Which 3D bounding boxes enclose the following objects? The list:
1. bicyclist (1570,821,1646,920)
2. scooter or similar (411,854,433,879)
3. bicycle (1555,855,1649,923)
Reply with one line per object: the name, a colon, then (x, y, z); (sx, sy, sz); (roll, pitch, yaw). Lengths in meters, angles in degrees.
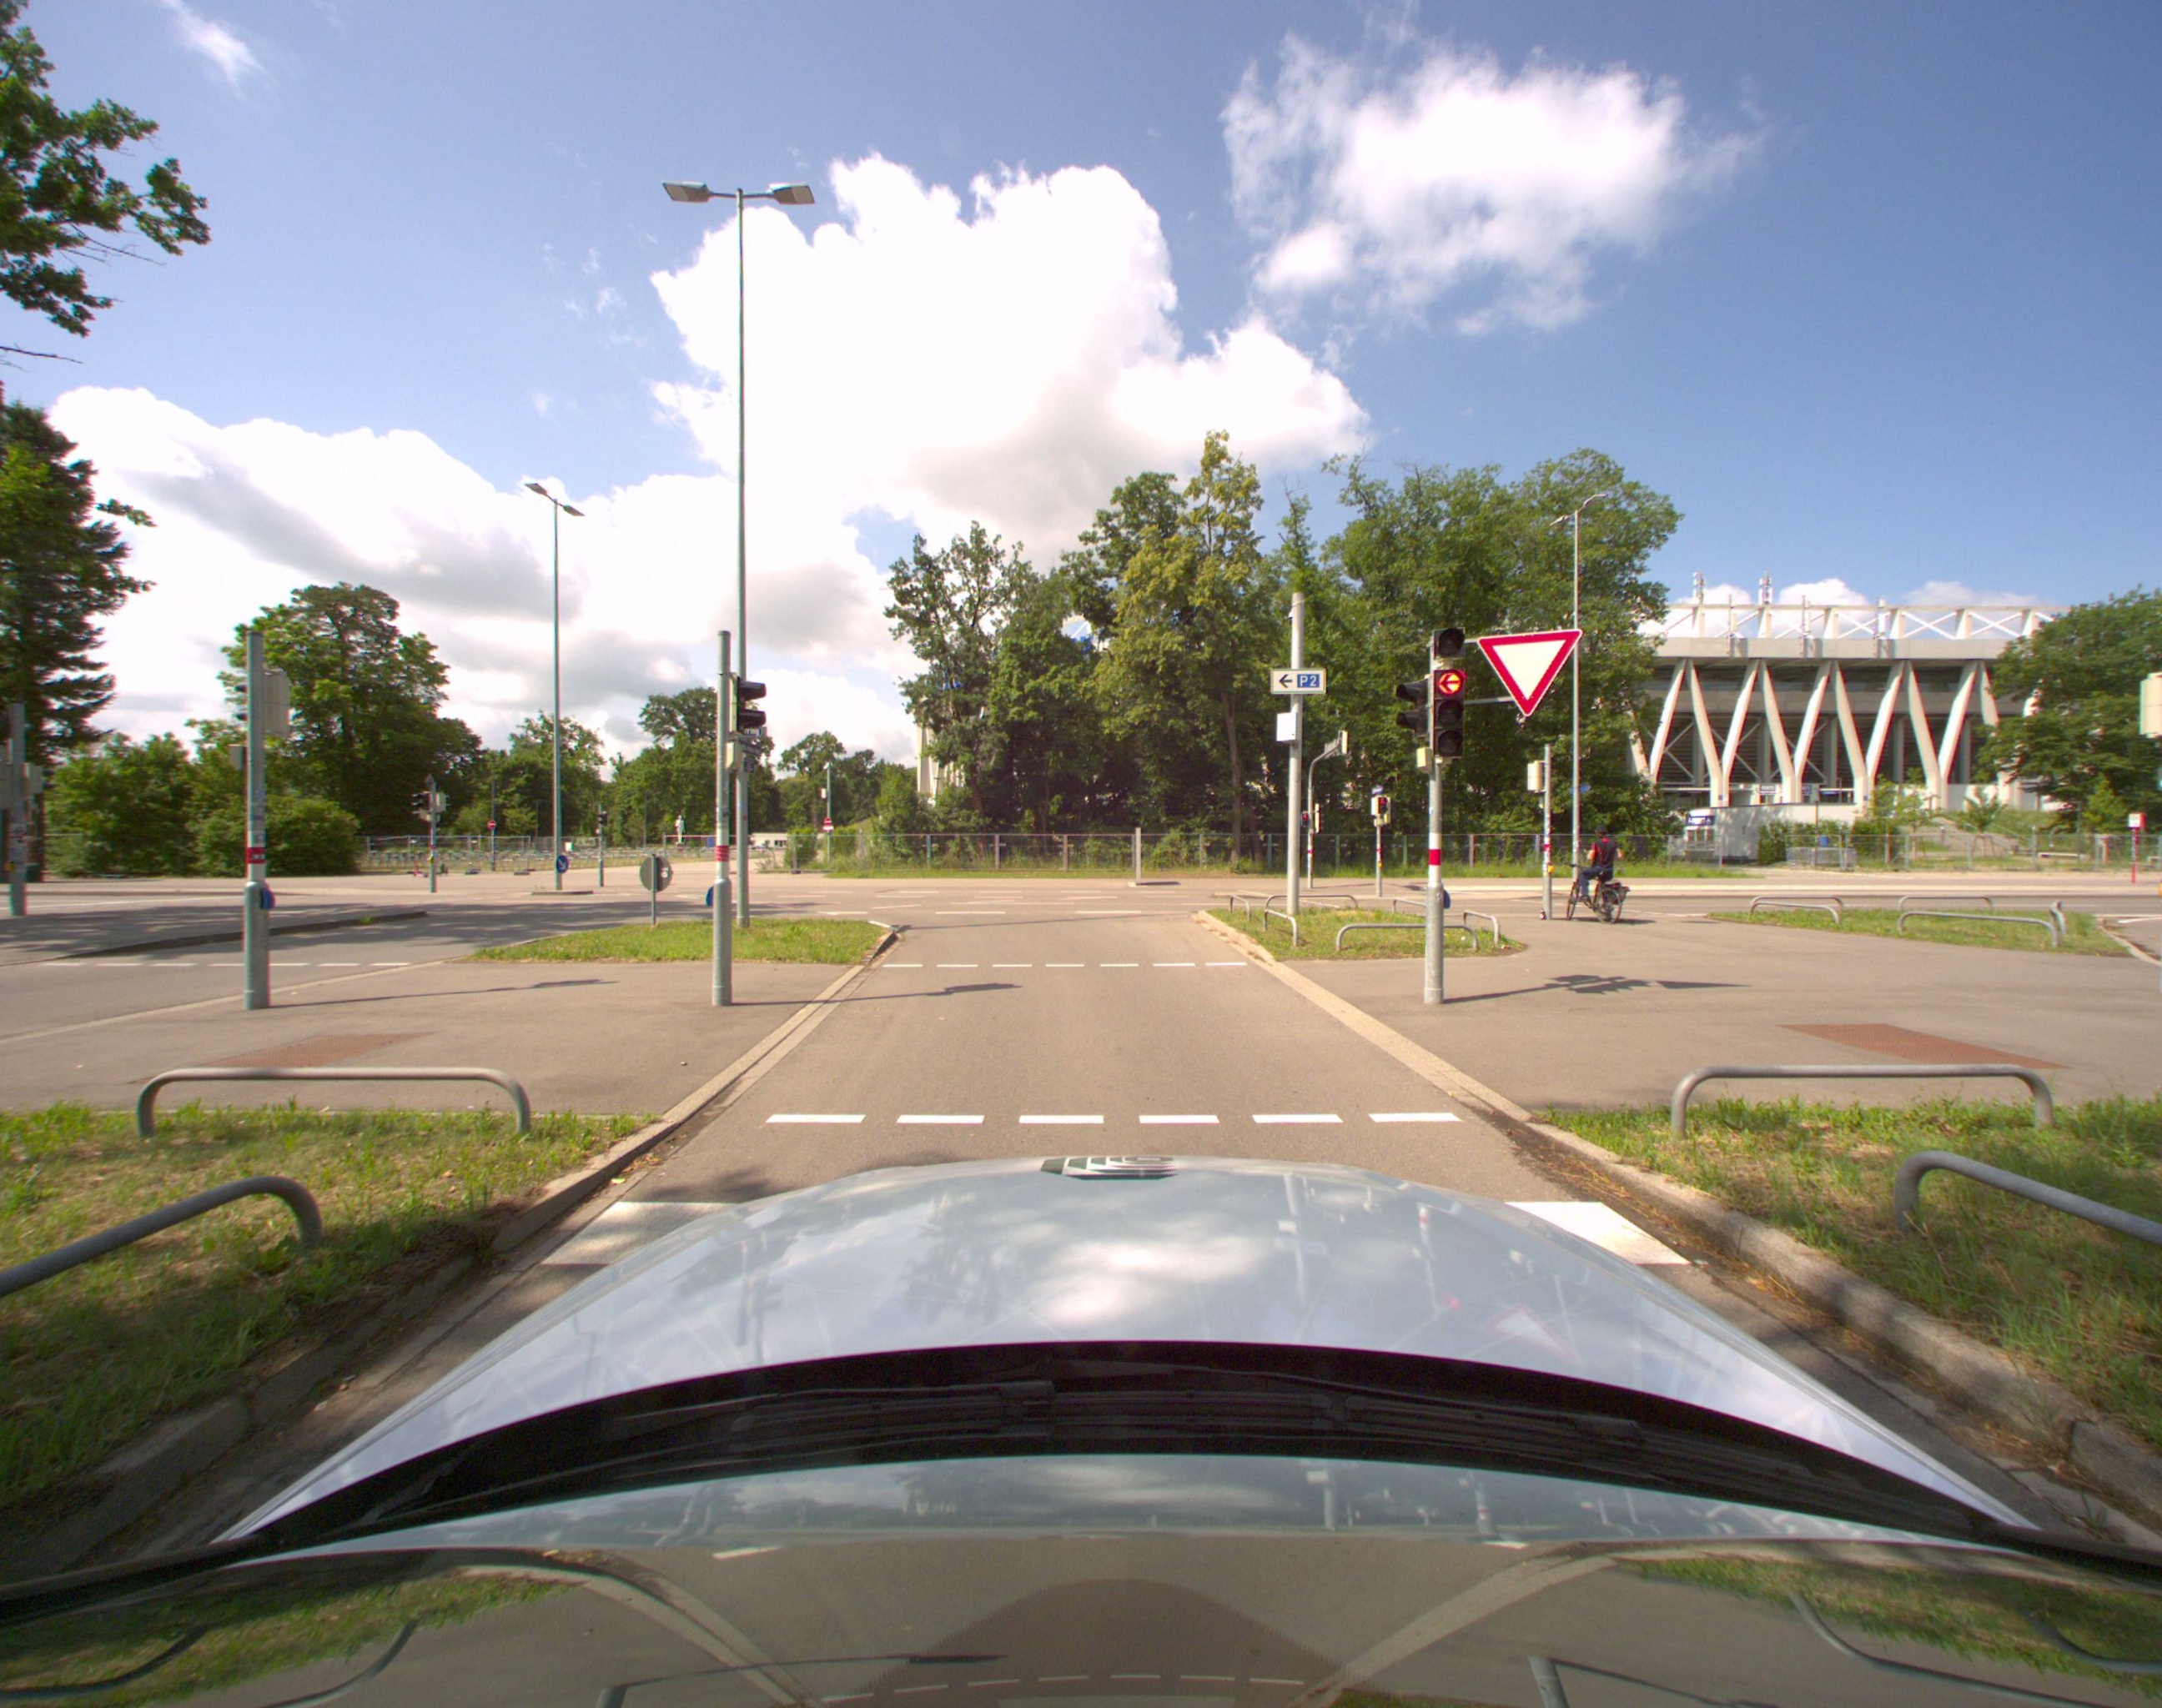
bicyclist: (9.932, 0.310, 15.382); (0.879, 1.798, 0.981); (-1, -1, 10)
scooter or similar: (-32.238, 0.589, 39.809); (1.295, 1.200, 0.410); (0, 1, 32)
bicycle: (9.964, 0.640, 15.662); (0.875, 1.206, 1.903); (-1, -1, 11)
